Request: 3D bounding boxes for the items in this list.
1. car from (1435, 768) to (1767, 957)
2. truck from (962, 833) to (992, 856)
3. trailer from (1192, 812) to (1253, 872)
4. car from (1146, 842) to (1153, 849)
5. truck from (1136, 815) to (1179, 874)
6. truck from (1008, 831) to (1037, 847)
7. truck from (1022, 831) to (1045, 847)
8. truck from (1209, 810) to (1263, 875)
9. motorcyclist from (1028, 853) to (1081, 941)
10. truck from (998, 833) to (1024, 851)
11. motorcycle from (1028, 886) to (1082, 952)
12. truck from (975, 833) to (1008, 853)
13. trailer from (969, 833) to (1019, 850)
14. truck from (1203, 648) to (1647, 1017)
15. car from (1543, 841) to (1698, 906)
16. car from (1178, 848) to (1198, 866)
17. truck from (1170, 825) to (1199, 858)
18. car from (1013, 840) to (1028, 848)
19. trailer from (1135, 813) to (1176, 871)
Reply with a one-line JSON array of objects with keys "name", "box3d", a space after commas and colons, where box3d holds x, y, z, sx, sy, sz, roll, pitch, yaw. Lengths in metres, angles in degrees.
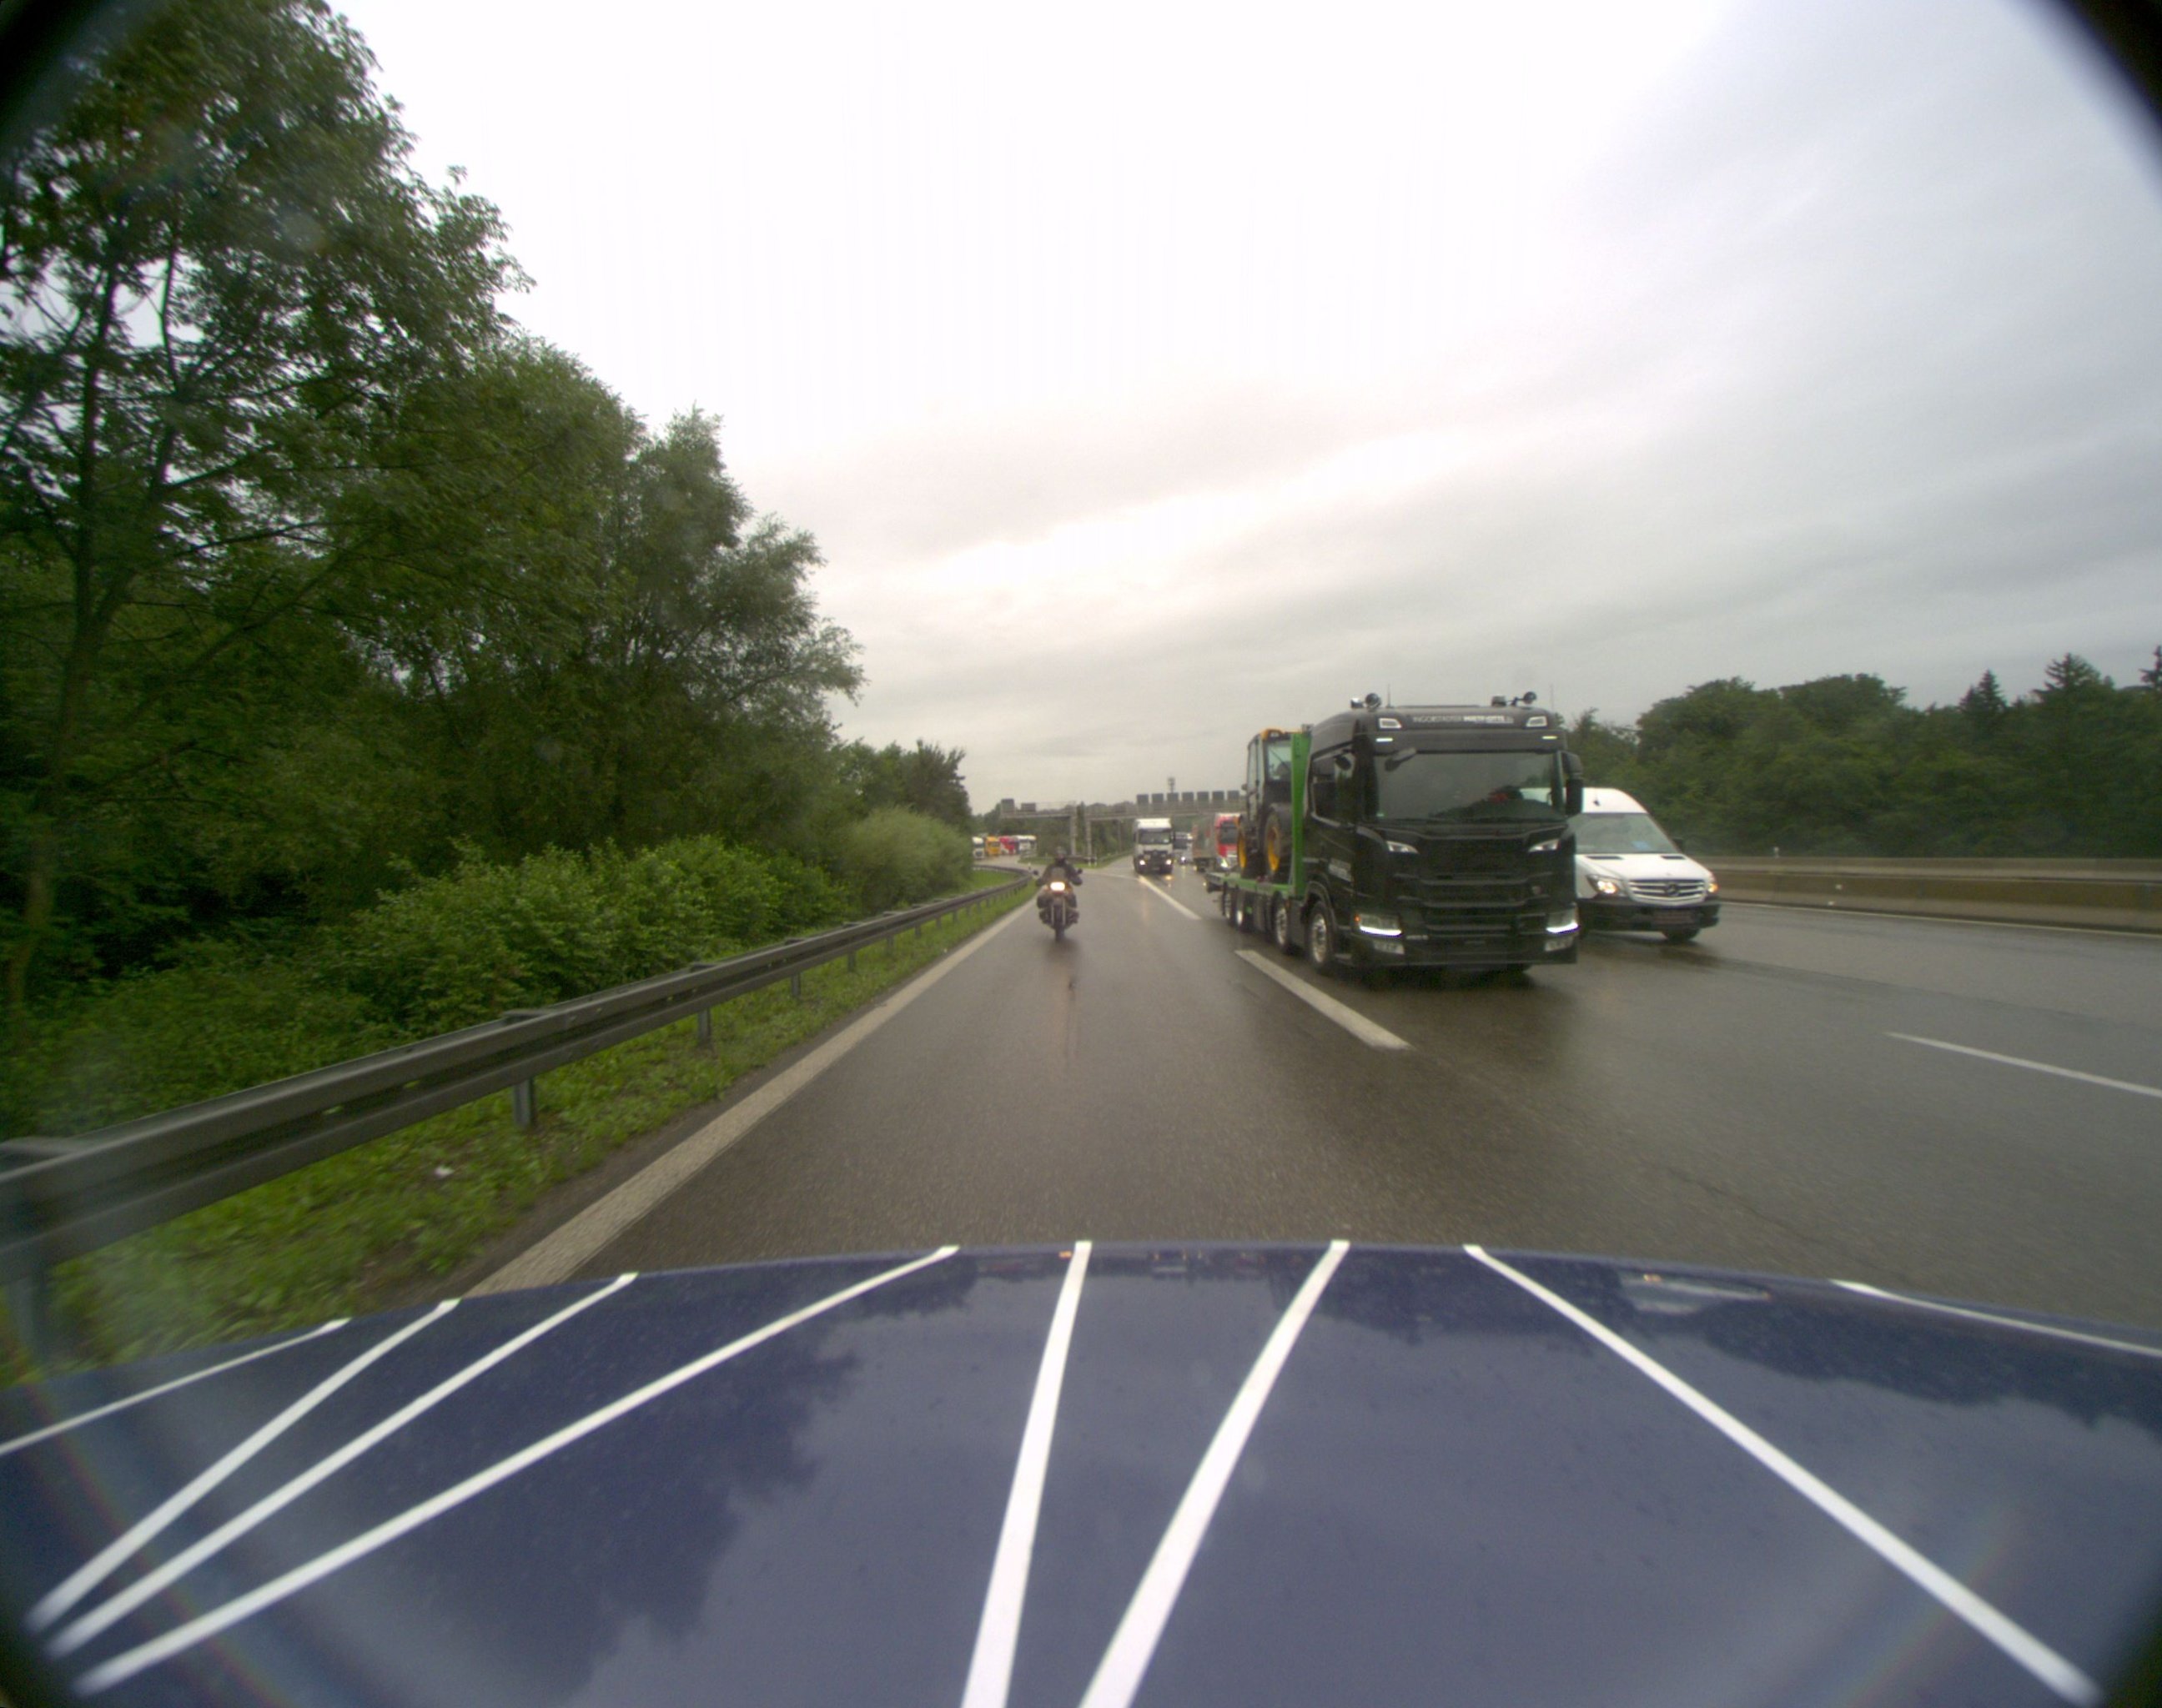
[{"name": "car", "box3d": [8.719, 0.082, 13.683, 2.220, 2.614, 5.844, -1, 1, 3]}, {"name": "truck", "box3d": [-19.052, -1.721, 138.775, 2.836, 3.891, 5.395, -3, 2, -40]}, {"name": "trailer", "box3d": [10.134, -0.879, 55.879, 2.633, 3.842, 13.677, -1, 1, 3]}, {"name": "car", "box3d": [18.852, -2.323, 209.675, 1.725, 1.664, 4.001, -1, 0, 3]}, {"name": "truck", "box3d": [5.586, -0.721, 56.364, 2.925, 4.076, 6.719, -1, 1, 5]}, {"name": "truck", "box3d": [-15.501, -3.957, 199.910, 3.252, 4.069, 7.915, -3, 3, -42]}, {"name": "truck", "box3d": [-13.051, -4.109, 208.577, 3.252, 4.362, 5.797, -4, 3, -42]}, {"name": "truck", "box3d": [9.780, -0.720, 48.404, 2.633, 3.842, 4.589, -1, 1, 3]}, {"name": "motorcyclist", "box3d": [-0.476, 0.774, 14.421, 0.878, 1.559, 1.373, -1, 1, 1]}, {"name": "truck", "box3d": [-15.787, -2.764, 170.702, 3.252, 3.897, 5.007, -3, 3, -42]}, {"name": "motorcycle", "box3d": [-0.460, 1.190, 14.521, 0.878, 1.016, 2.352, -1, 1, 1]}, {"name": "truck", "box3d": [-18.558, -2.240, 157.166, 2.845, 3.897, 8.107, -3, 2, -38]}, {"name": "trailer", "box3d": [-20.268, -2.856, 175.727, 3.252, 3.897, 14.788, -3, 3, -42]}, {"name": "truck", "box3d": [4.303, -0.256, 13.333, 2.838, 3.568, 11.797, -1, 1, 2]}, {"name": "car", "box3d": [15.748, 0.520, 22.478, 1.778, 1.745, 4.000, -1, 0, 1]}, {"name": "car", "box3d": [11.636, 0.306, 82.870, 1.762, 1.762, 3.999, -5, 2, 3]}, {"name": "truck", "box3d": [14.397, -1.877, 106.395, 3.354, 4.048, 12.573, -5, 2, 6]}, {"name": "car", "box3d": [-15.346, -2.566, 193.460, 1.851, 1.848, 3.989, -4, 3, -40]}, {"name": "trailer", "box3d": [6.039, -1.042, 62.751, 2.925, 4.181, 13.637, -1, 1, 5]}]
